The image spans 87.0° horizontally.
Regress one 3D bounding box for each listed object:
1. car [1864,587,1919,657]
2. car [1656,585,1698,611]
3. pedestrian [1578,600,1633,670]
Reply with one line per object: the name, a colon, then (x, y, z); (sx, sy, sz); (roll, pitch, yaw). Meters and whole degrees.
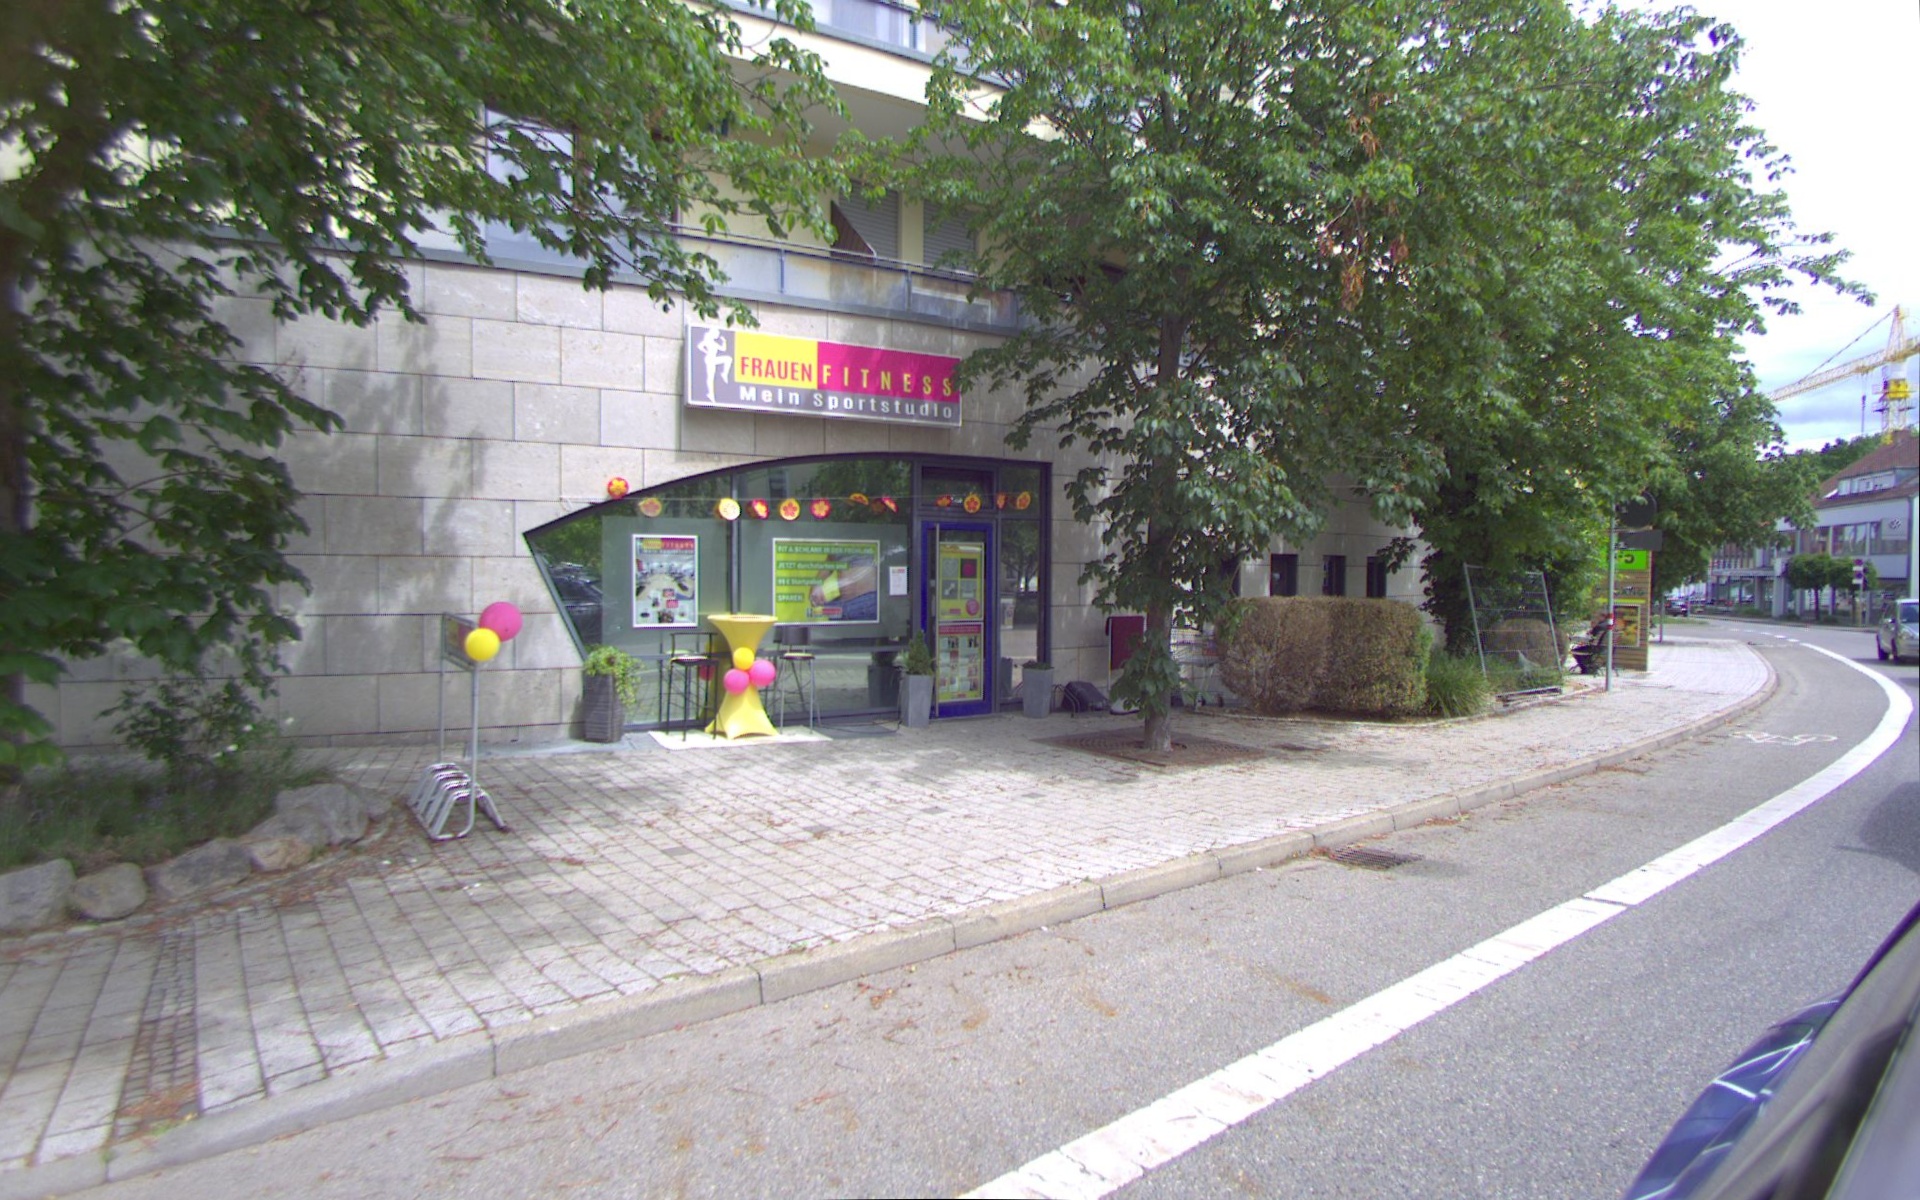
car: (22.925, 0.458, 23.776); (1.680, 1.505, 3.958); (-1, 0, 30)
car: (54.779, -0.158, 77.371); (1.721, 1.874, 3.971); (1, 1, 22)
pedestrian: (12.787, 0.680, 20.058); (0.741, 1.317, 0.730); (0, 1, -42)
